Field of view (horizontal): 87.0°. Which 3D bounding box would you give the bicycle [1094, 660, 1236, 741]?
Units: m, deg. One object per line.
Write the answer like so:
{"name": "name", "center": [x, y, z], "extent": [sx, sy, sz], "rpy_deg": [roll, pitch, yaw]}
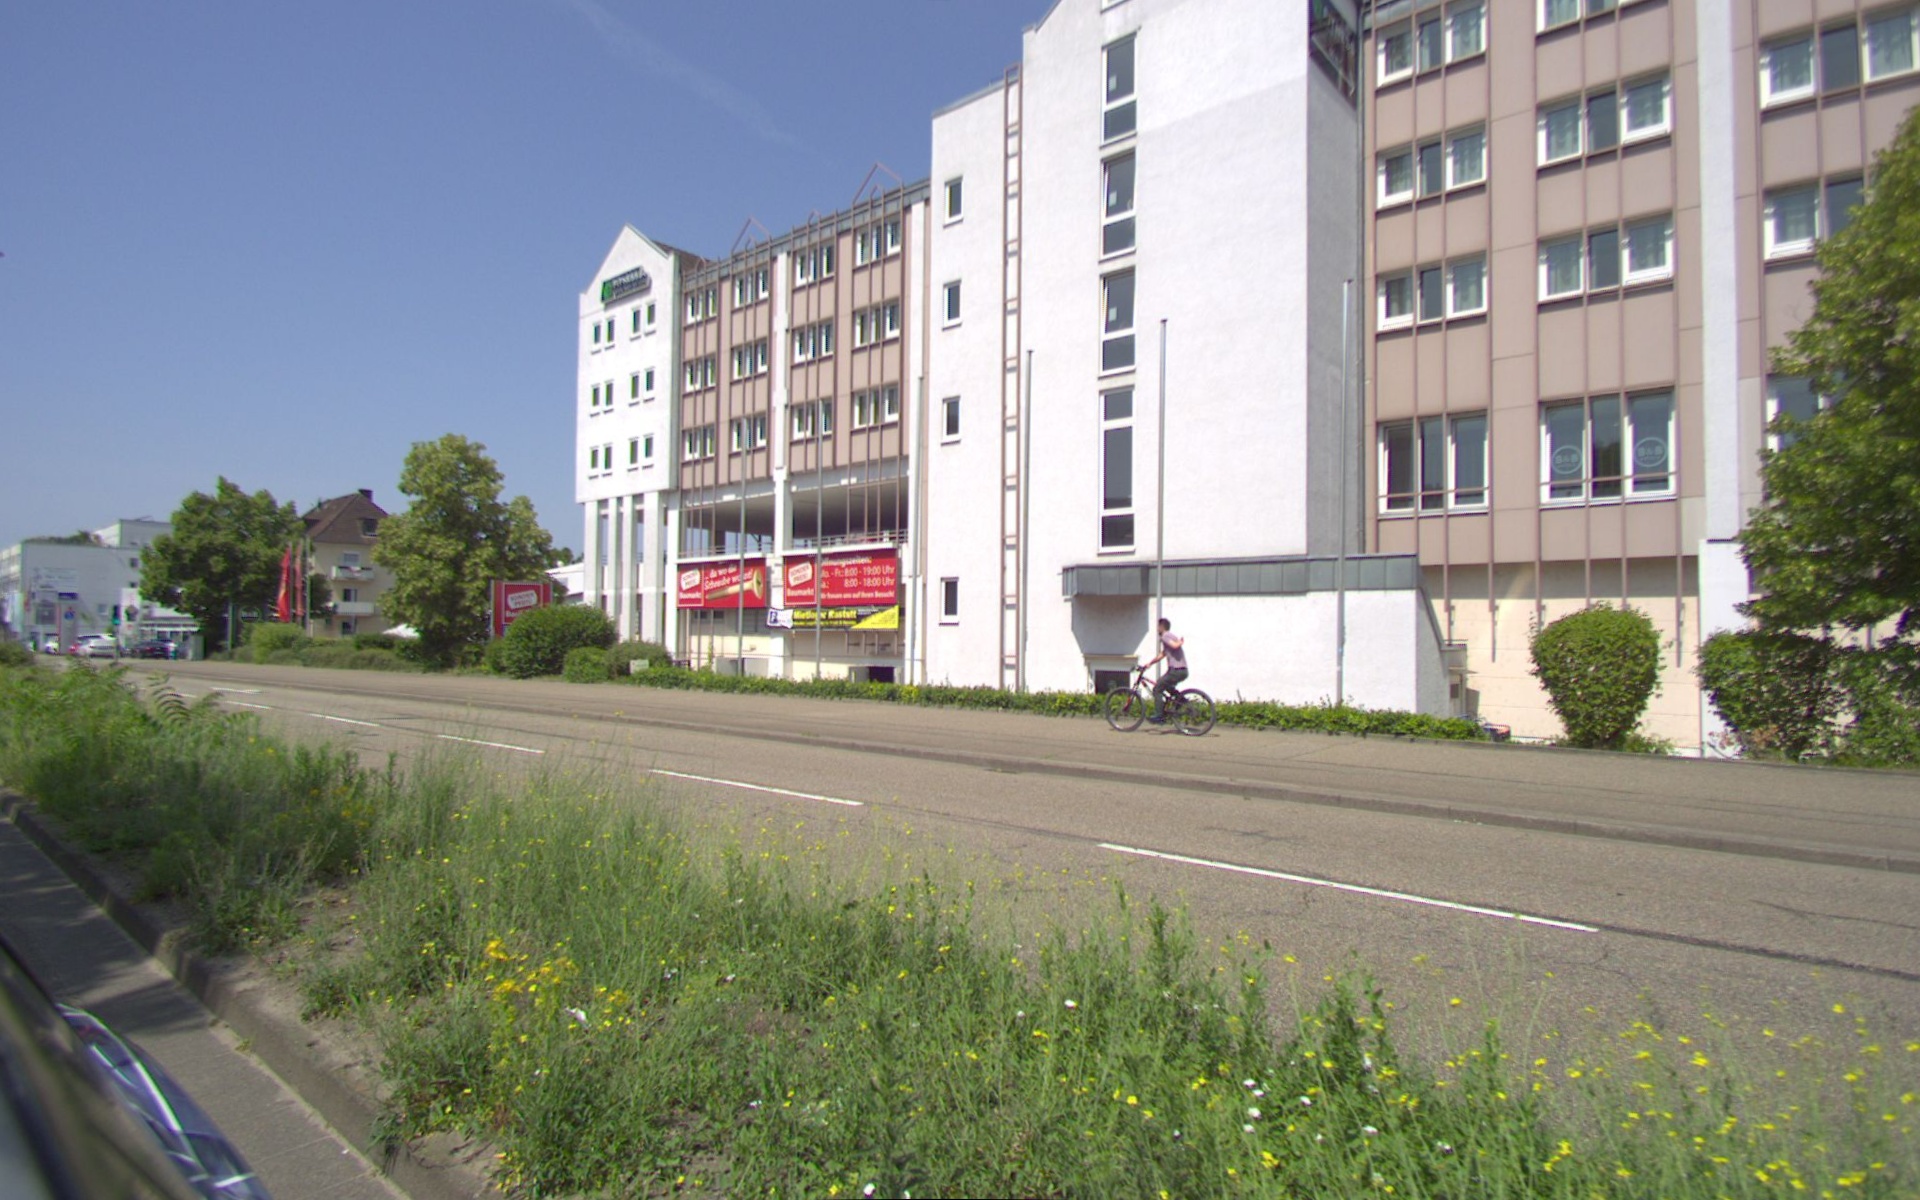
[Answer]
{"name": "bicycle", "center": [3.031, 1.467, 15.109], "extent": [2.060, 1.081, 0.545], "rpy_deg": [-1, -3, 38]}

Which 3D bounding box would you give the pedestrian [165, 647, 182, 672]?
{"name": "pedestrian", "center": [-55.540, 4.186, 71.434], "extent": [1.033, 1.760, 0.732], "rpy_deg": [-3, -4, 43]}

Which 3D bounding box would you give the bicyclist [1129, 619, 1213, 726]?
{"name": "bicyclist", "center": [3.133, 1.063, 15.038], "extent": [1.025, 1.528, 0.710], "rpy_deg": [-1, -4, 37]}

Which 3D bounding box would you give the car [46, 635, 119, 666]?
{"name": "car", "center": [-75.936, 4.348, 87.627], "extent": [4.496, 1.720, 1.762], "rpy_deg": [-14, 9, -40]}

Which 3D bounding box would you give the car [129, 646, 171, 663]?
{"name": "car", "center": [-63.810, 4.293, 79.742], "extent": [3.995, 1.362, 1.715], "rpy_deg": [-2, -4, 39]}

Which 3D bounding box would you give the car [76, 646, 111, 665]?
{"name": "car", "center": [-66.693, 4.284, 77.860], "extent": [1.755, 1.421, 4.762], "rpy_deg": [4, -5, -44]}
